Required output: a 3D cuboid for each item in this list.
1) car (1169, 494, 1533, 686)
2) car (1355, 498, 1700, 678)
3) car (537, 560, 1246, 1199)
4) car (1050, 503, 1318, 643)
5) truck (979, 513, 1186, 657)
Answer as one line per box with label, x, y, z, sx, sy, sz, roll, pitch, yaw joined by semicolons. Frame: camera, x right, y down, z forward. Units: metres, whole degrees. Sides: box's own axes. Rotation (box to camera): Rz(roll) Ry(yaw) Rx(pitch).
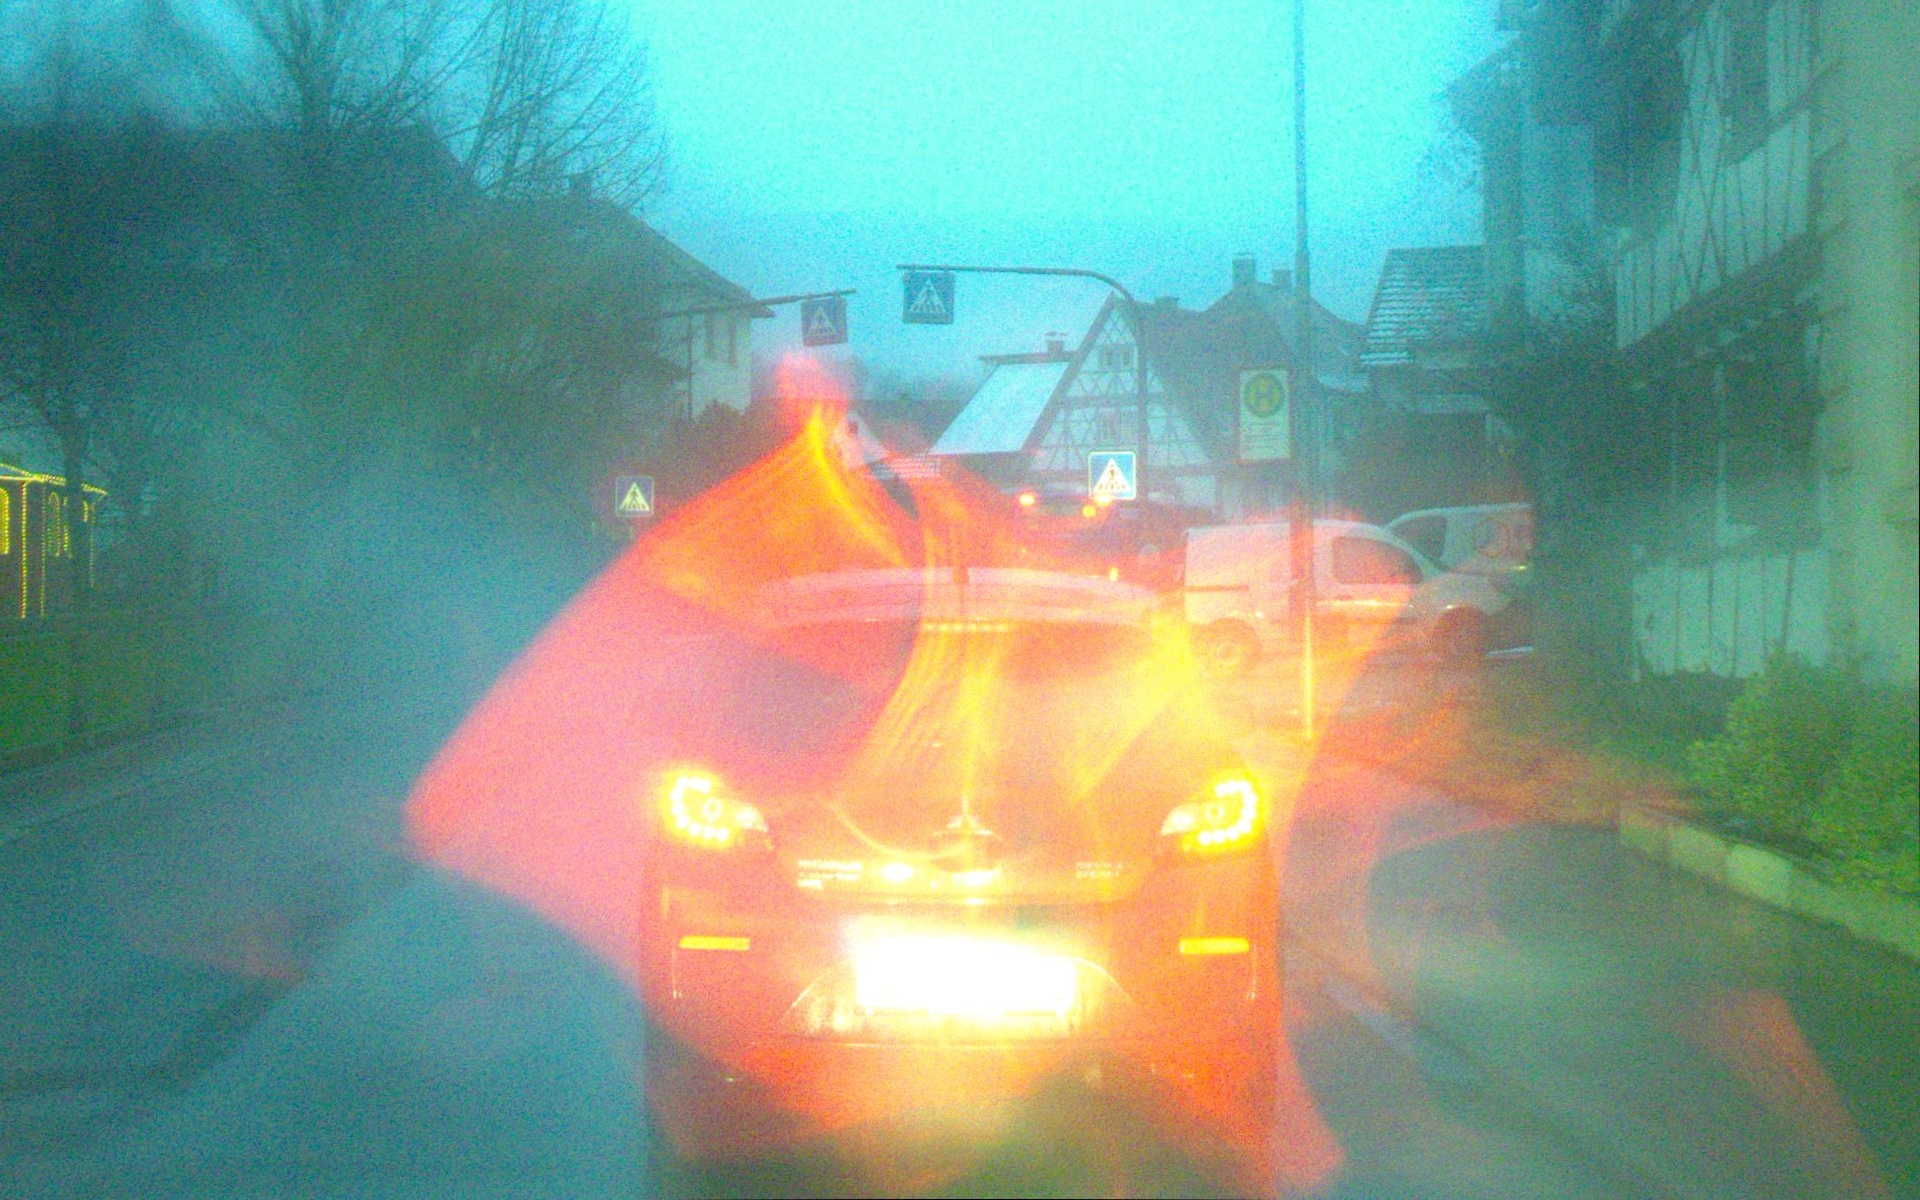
car;4.537;-0.138;39.997;4.098;2.155;1.913;0;1;7
car;6.942;-0.164;42.385;4.098;2.144;1.913;0;1;7
car;-0.173;0.643;9.737;1.638;1.476;3.379;1;0;0
car;3.560;-0.442;54.207;4.098;2.144;1.913;0;1;7
truck;2.933;-0.384;79.503;3.017;3.118;7.994;1;1;15
